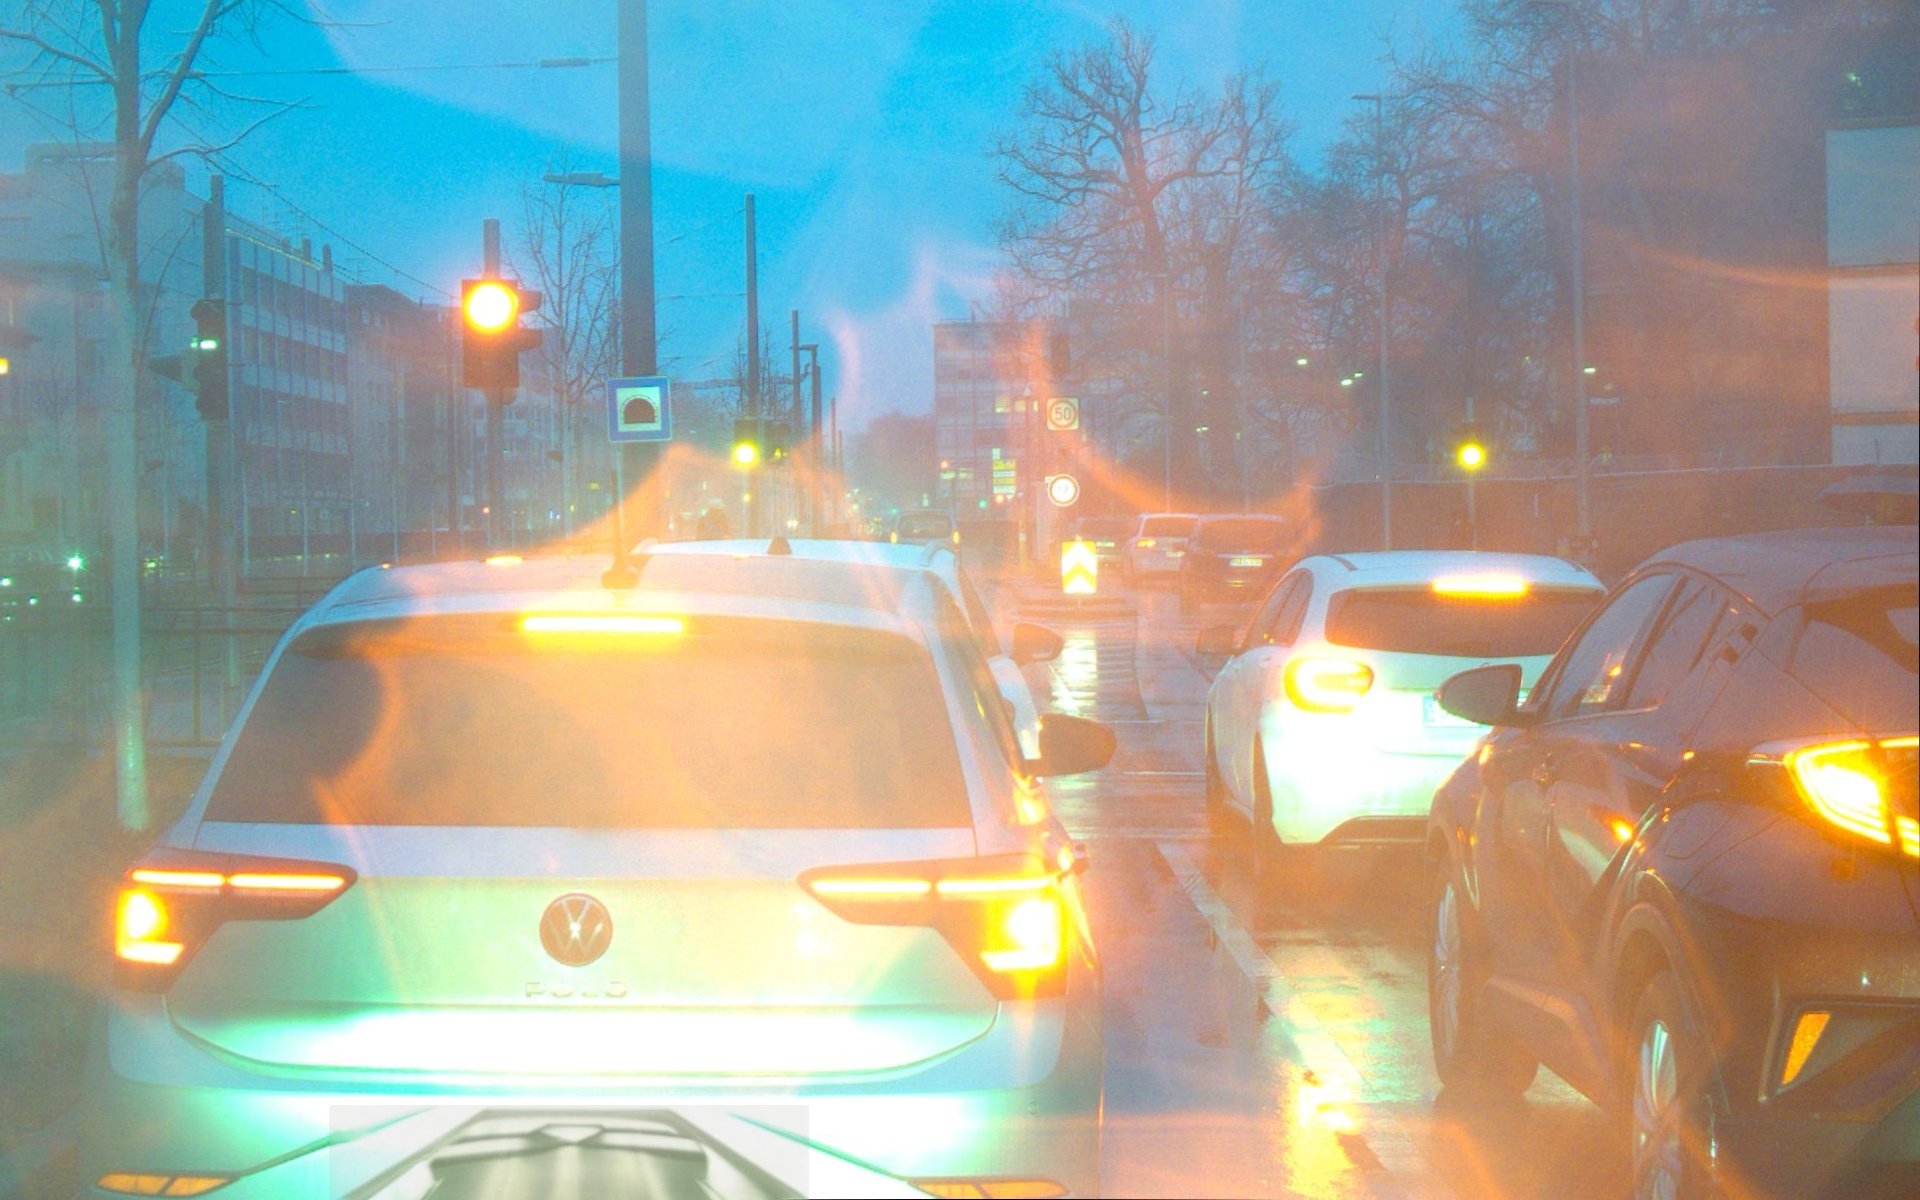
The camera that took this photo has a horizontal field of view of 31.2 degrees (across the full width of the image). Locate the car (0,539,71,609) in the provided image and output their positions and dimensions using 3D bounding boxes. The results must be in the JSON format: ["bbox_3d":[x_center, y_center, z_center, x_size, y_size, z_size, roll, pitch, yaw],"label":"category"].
[{"bbox_3d":[-22.664,-0.633,81.878,1.950,1.597,4.000,1,1,0],"label":"car"}]

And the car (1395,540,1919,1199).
[{"bbox_3d":[2.126,0.632,7.608,1.800,1.505,3.895,-1,1,0],"label":"car"}]

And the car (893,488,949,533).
[{"bbox_3d":[-1.253,-2.894,111.425,1.737,1.415,3.804,-1,1,0],"label":"car"}]

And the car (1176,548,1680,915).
[{"bbox_3d":[1.984,0.495,15.581,1.745,1.428,3.731,1,1,0],"label":"car"}]

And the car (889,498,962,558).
[{"bbox_3d":[-0.845,-1.782,84.979,1.737,1.415,4.394,-1,1,0],"label":"car"}]

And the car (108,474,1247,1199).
[{"bbox_3d":[-0.528,0.529,7.142,1.693,1.528,4.001,0,1,-3],"label":"car"}]

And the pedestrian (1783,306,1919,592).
[{"bbox_3d":[6.643,-1.080,24.764,0.958,2.007,1.008,-1,1,-23],"label":"pedestrian"}]

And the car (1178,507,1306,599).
[{"bbox_3d":[4.572,-0.788,56.176,1.737,1.415,3.703,-1,1,0],"label":"car"}]

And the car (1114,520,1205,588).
[{"bbox_3d":[4.337,-1.027,75.319,1.737,1.415,3.703,-1,1,0],"label":"car"}]

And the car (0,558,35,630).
[{"bbox_3d":[-22.197,-0.133,77.065,1.867,1.571,4.000,-1,1,-1],"label":"car"}]

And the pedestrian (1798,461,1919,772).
[{"bbox_3d":[6.114,0.093,22.723,0.959,2.007,1.007,-1,1,6],"label":"pedestrian"}]

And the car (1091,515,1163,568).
[{"bbox_3d":[4.627,-1.638,95.713,1.737,1.415,4.146,-1,1,0],"label":"car"}]

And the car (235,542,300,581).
[{"bbox_3d":[-29.588,-1.667,146.908,1.950,1.597,4.000,1,1,0],"label":"car"}]

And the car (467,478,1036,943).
[{"bbox_3d":[-0.681,0.296,13.338,1.799,1.461,4.586,-1,1,0],"label":"car"}]

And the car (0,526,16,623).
[{"bbox_3d":[-16.714,-0.419,55.379,1.993,1.597,4.000,1,1,-1],"label":"car"}]

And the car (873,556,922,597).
[{"bbox_3d":[-2.298,-0.881,127.089,1.737,1.415,3.804,-1,1,0],"label":"car"}]
